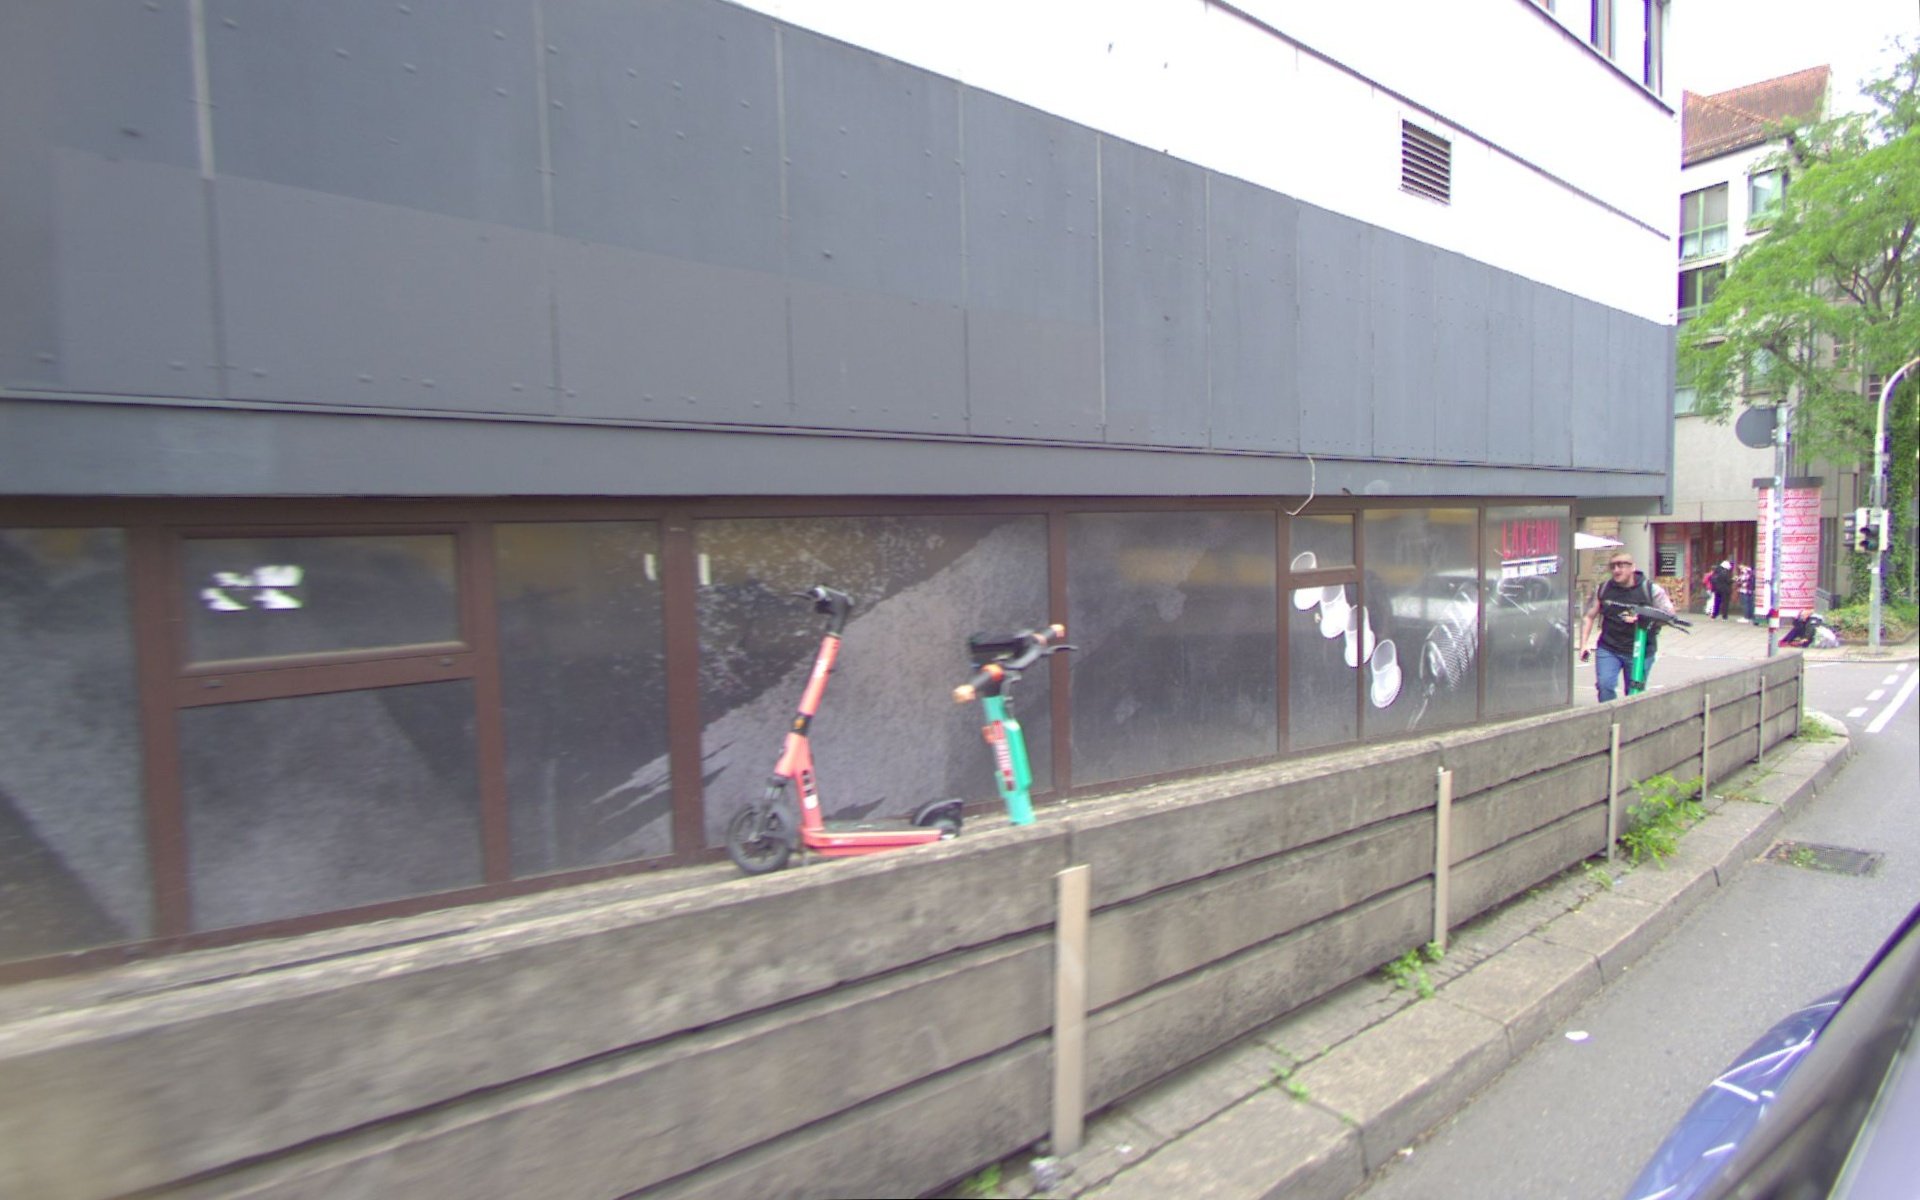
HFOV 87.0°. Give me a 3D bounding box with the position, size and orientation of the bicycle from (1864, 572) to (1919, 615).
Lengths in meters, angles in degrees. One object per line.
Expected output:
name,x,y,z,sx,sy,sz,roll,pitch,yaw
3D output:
bicycle,27.684,-0.205,29.715,1.687,1.237,0.534,2,2,43

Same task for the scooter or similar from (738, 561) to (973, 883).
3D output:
scooter or similar,-0.453,0.482,4.539,0.963,1.292,0.428,0,2,-40

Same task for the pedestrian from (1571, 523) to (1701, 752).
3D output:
pedestrian,5.712,0.285,8.546,0.868,1.808,0.721,-1,1,-42

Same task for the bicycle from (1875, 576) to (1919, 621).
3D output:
bicycle,26.448,-0.044,28.200,1.420,1.237,0.534,0,0,43

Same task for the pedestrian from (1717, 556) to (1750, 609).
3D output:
pedestrian,22.833,-0.515,29.861,0.652,1.542,0.625,-1,1,-37

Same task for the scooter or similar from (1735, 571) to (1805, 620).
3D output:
scooter or similar,22.004,-0.139,27.521,0.618,1.269,1.394,0,3,-8

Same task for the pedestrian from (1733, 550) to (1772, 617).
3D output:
pedestrian,23.062,-0.488,29.454,0.864,1.913,0.707,-1,1,-37

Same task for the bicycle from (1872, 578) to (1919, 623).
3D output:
bicycle,27.059,0.007,28.705,1.740,1.236,0.534,3,3,43

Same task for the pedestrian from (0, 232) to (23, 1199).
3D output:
pedestrian,-1.776,0.288,1.395,0.643,1.816,0.739,-1,1,-39

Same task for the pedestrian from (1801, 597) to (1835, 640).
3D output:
pedestrian,19.033,0.397,22.459,0.573,0.921,0.485,0,1,-40

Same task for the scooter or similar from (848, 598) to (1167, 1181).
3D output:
scooter or similar,0.142,0.651,2.661,0.799,1.292,0.354,0,2,-41

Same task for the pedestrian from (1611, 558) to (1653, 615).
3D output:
pedestrian,22.363,-0.442,33.712,0.720,1.856,0.905,0,1,-15
